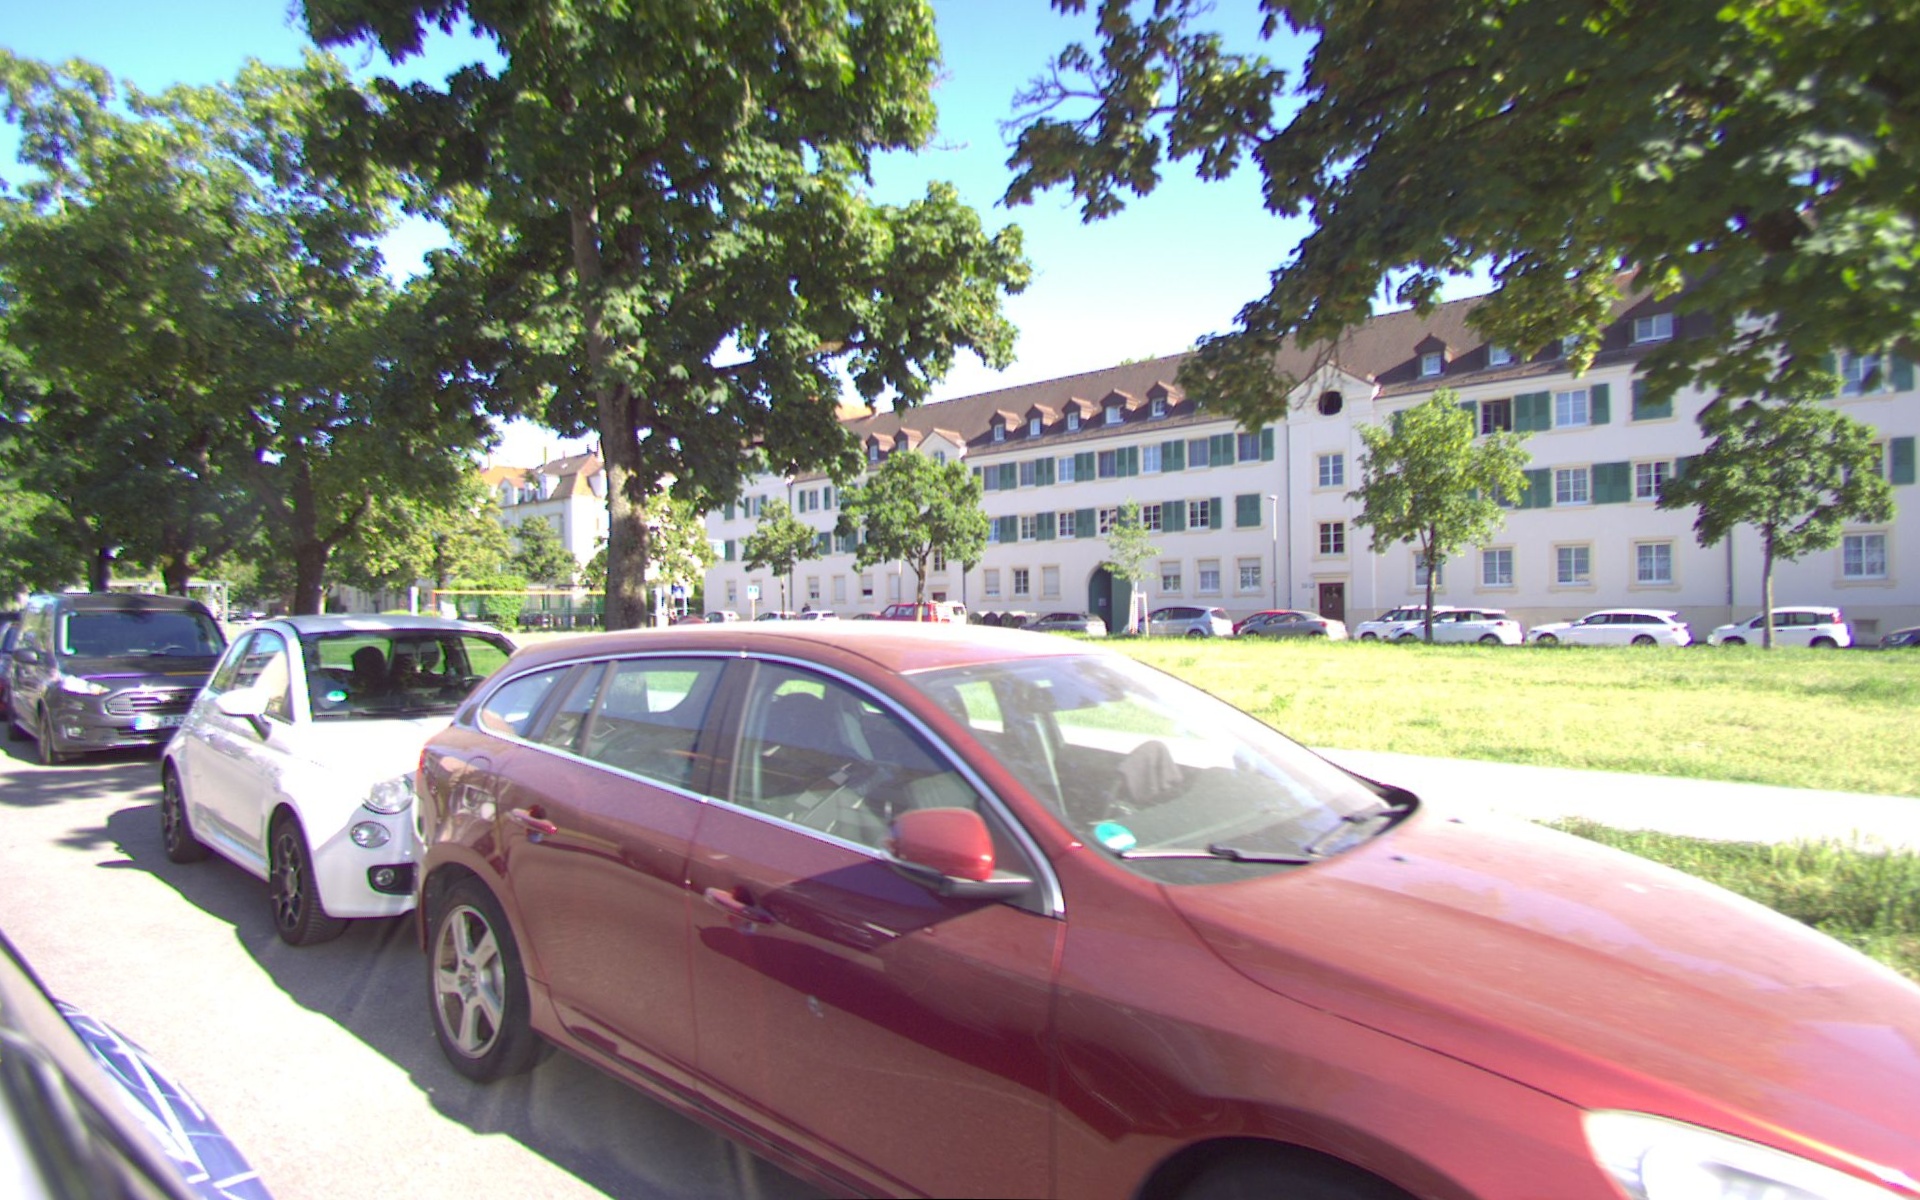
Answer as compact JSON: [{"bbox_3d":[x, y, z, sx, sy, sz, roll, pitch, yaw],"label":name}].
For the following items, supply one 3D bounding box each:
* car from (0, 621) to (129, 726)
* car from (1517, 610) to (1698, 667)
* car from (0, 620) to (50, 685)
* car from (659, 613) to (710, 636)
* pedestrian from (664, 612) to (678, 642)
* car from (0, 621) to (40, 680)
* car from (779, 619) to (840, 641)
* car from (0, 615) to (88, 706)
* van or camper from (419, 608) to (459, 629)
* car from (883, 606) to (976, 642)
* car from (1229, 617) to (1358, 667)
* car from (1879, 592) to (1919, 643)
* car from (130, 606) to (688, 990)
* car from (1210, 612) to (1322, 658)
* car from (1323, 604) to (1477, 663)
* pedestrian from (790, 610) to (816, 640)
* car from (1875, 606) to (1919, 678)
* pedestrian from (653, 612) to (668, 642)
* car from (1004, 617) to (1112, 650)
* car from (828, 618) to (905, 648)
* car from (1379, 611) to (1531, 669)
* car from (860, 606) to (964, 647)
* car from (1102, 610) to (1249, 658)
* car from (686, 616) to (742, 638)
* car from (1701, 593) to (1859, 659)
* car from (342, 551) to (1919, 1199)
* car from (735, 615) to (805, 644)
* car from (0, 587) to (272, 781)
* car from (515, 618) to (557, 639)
[{"bbox_3d":[-14.316,1.054,15.823,4.087,1.439,1.521,-1,-1,43],"label":"car"},{"bbox_3d":[23.032,1.324,36.132,5.157,1.900,2.131,-1,-1,42],"label":"car"},{"bbox_3d":[-23.092,1.203,24.013,3.803,1.429,1.860,0,-1,43],"label":"car"},{"bbox_3d":[-23.694,2.088,87.190,2.043,1.970,3.761,-1,-1,43],"label":"car"},{"bbox_3d":[-16.423,1.533,57.522,0.537,1.698,0.674,0,-1,-43],"label":"pedestrian"},{"bbox_3d":[-26.798,1.335,27.464,5.153,1.528,1.974,-1,-2,39],"label":"car"},{"bbox_3d":[-9.691,1.913,65.068,3.998,1.366,1.750,-1,-1,41],"label":"car"},{"bbox_3d":[-18.939,1.135,20.053,4.757,1.638,2.003,-1,-2,43],"label":"car"},{"bbox_3d":[-53.782,1.881,104.432,4.373,2.029,2.243,-1,-1,42],"label":"van or camper"},{"bbox_3d":[-1.785,1.362,58.122,5.253,1.999,2.198,-1,-1,40],"label":"car"},{"bbox_3d":[12.539,1.528,38.161,4.009,1.763,2.292,-1,-1,43],"label":"car"},{"bbox_3d":[30.260,0.505,29.554,4.956,1.496,1.973,-1,-2,41],"label":"car"},{"bbox_3d":[-3.310,0.830,5.792,3.683,1.504,1.570,-1,-3,41],"label":"car"},{"bbox_3d":[13.486,1.503,44.691,4.164,1.919,2.240,-1,-1,40],"label":"car"},{"bbox_3d":[17.797,1.321,41.044,5.253,2.233,2.505,-1,-1,40],"label":"car"},{"bbox_3d":[-10.738,1.706,69.044,1.161,1.978,1.327,-1,-1,36],"label":"pedestrian"},{"bbox_3d":[26.451,1.056,25.662,4.701,1.834,2.136,-1,-1,40],"label":"car"},{"bbox_3d":[-16.889,1.527,57.025,0.750,1.698,0.537,-2,-1,44],"label":"pedestrian"},{"bbox_3d":[4.648,1.565,48.595,4.956,1.496,1.973,-1,-2,41],"label":"car"},{"bbox_3d":[-5.729,1.997,61.550,4.640,1.777,1.973,-1,-1,40],"label":"car"},{"bbox_3d":[16.776,1.321,34.379,4.254,1.834,2.213,-1,-1,40],"label":"car"},{"bbox_3d":[-2.500,1.325,51.671,5.256,1.999,2.197,-1,-1,42],"label":"car"},{"bbox_3d":[8.773,1.343,41.544,5.454,1.834,2.423,-1,-1,43],"label":"car"},{"bbox_3d":[-15.193,1.668,62.391,3.513,1.343,1.633,-1,-1,41],"label":"car"},{"bbox_3d":[26.583,0.815,32.900,3.895,2.029,1.648,-1,-1,41],"label":"car"},{"bbox_3d":[0.056,0.762,2.893,4.665,1.503,1.737,-1,-3,41],"label":"car"},{"bbox_3d":[-11.092,1.693,58.958,4.233,1.595,1.770,-1,-1,41],"label":"car"},{"bbox_3d":[-9.791,0.793,11.757,4.990,1.798,1.844,0,-1,42],"label":"car"},{"bbox_3d":[-37.670,2.523,89.892,4.000,1.807,1.929,-1,-1,43],"label":"car"}]
